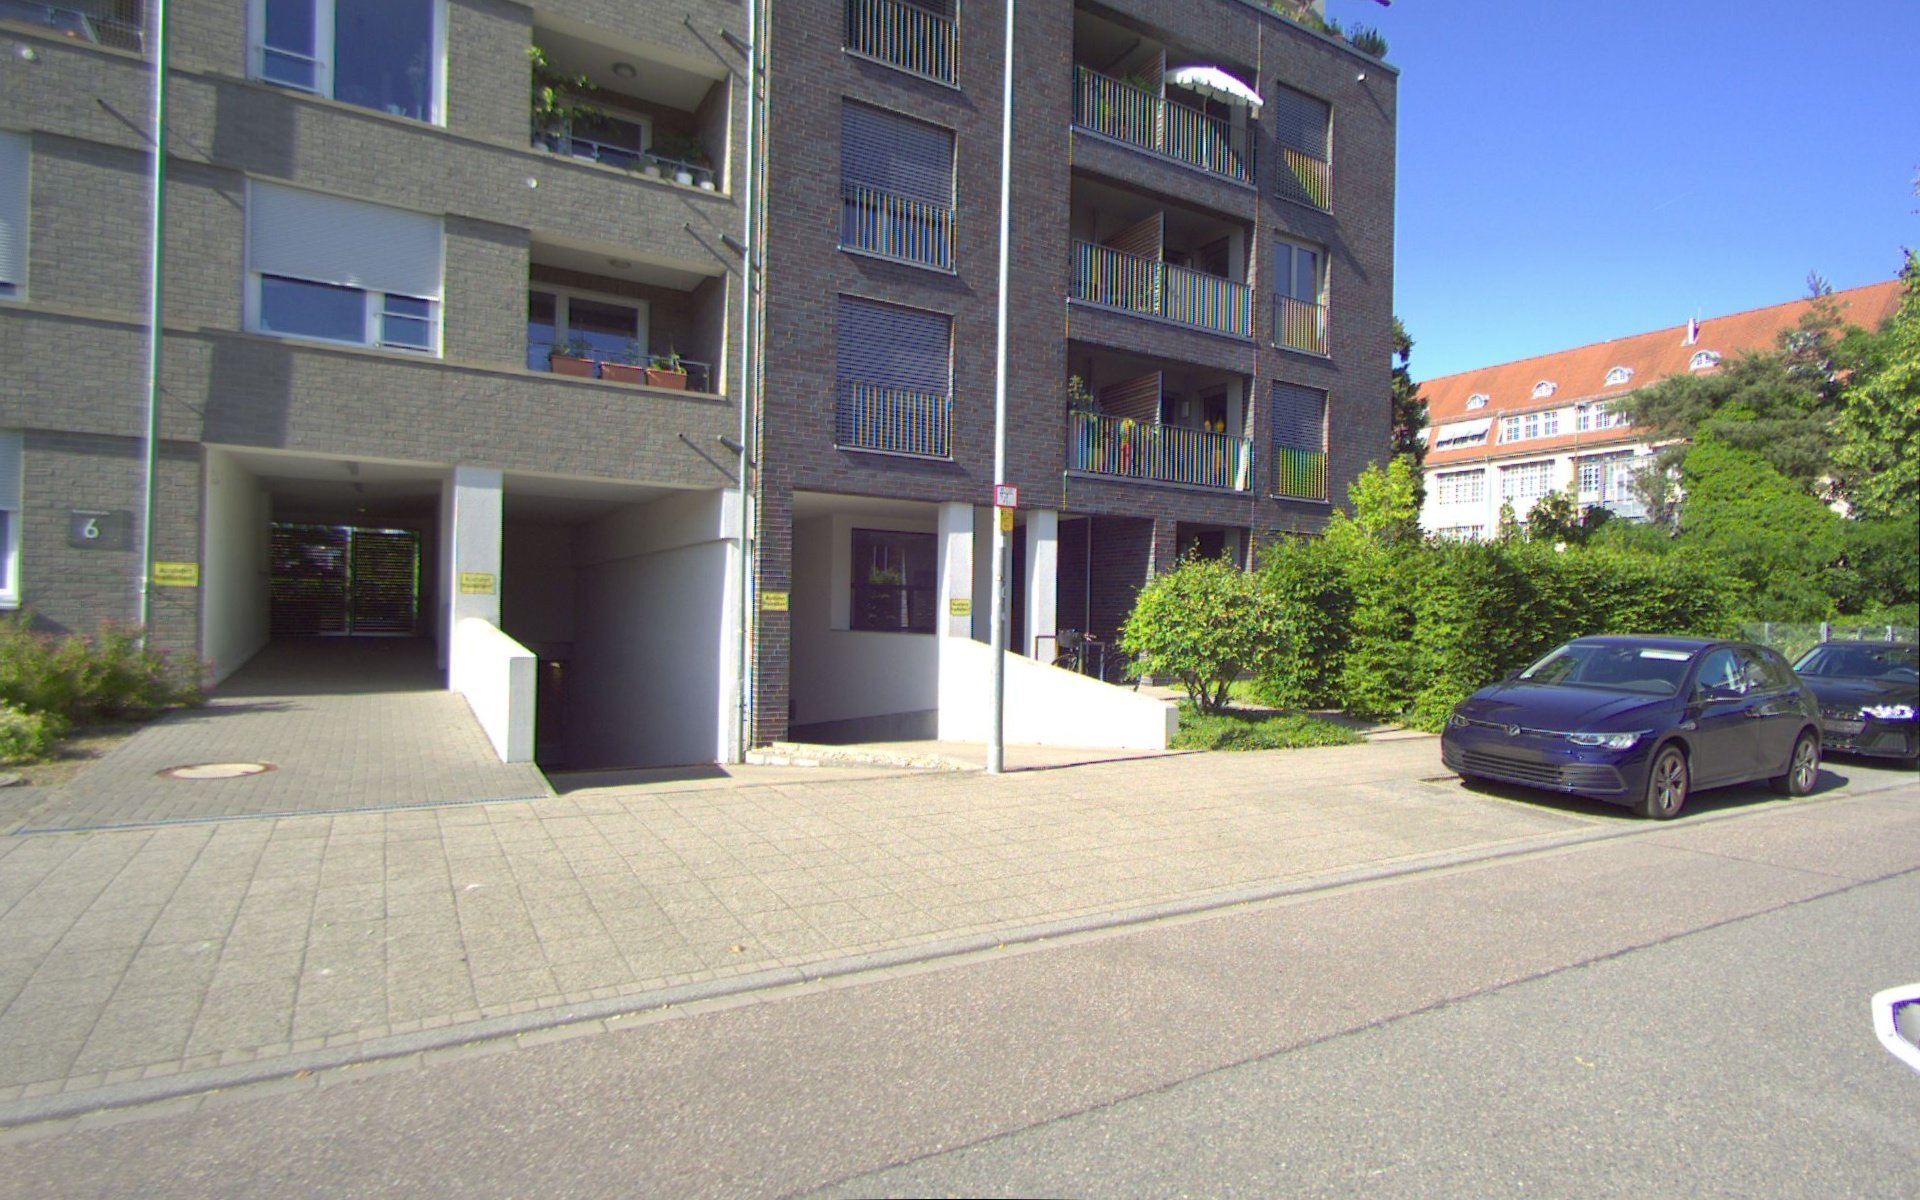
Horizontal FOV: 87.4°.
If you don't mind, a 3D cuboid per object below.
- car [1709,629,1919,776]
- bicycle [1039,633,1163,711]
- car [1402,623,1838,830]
[{"bbox_3d":[11.489,1.187,12.692,3.981,1.493,1.831,2,1,-31],"label":"car"},{"bbox_3d":[2.153,1.070,15.261,1.853,1.089,0.637,2,1,-31],"label":"bicycle"},{"bbox_3d":[6.286,1.037,9.491,4.052,1.493,1.831,2,1,-31],"label":"car"}]
